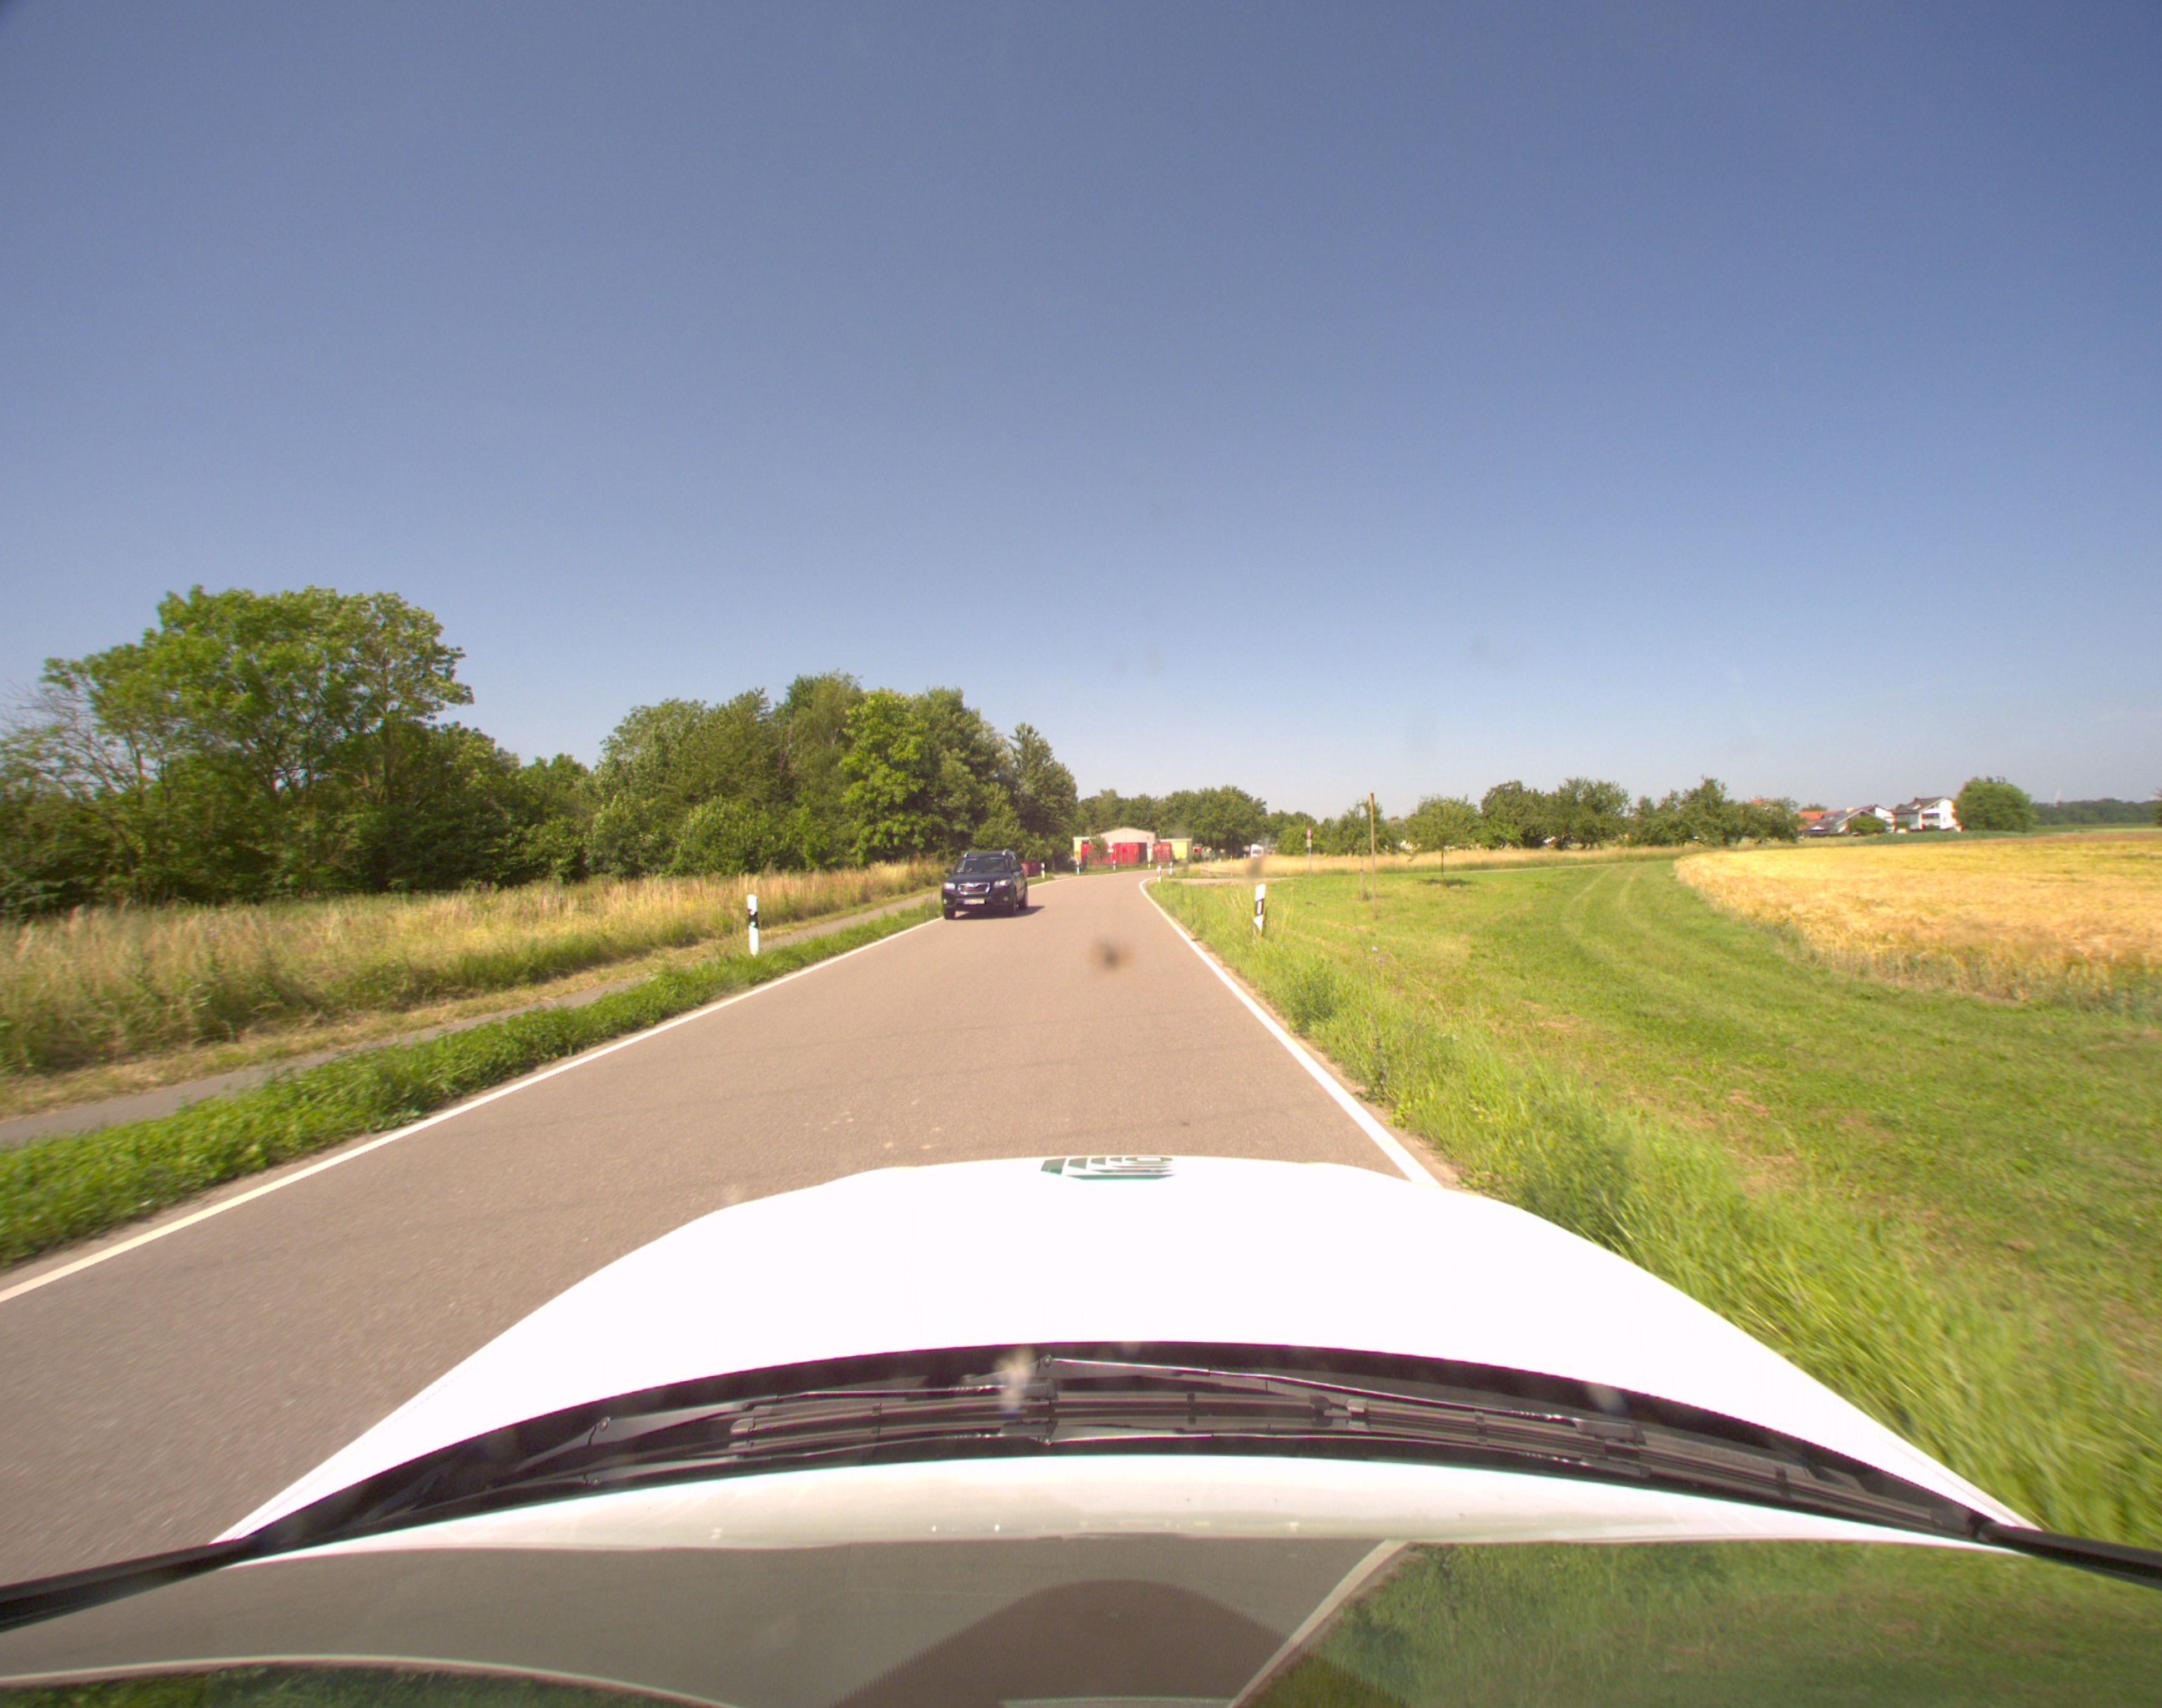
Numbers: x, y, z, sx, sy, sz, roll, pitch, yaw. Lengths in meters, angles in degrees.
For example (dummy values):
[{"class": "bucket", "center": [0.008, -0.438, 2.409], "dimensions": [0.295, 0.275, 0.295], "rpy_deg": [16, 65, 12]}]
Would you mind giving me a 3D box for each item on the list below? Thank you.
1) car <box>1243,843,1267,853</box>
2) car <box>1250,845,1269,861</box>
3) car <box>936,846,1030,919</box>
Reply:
[{"class": "car", "center": [42.880, -1.518, 200.584], "dimensions": [5.608, 2.266, 1.989], "rpy_deg": [-2, 0, -17]}, {"class": "car", "center": [27.313, -0.131, 124.661], "dimensions": [1.976, 2.266, 4.752], "rpy_deg": [-2, 0, 22]}, {"class": "car", "center": [-2.581, 0.713, 22.456], "dimensions": [1.859, 1.753, 4.298], "rpy_deg": [-2, 0, 2]}]
